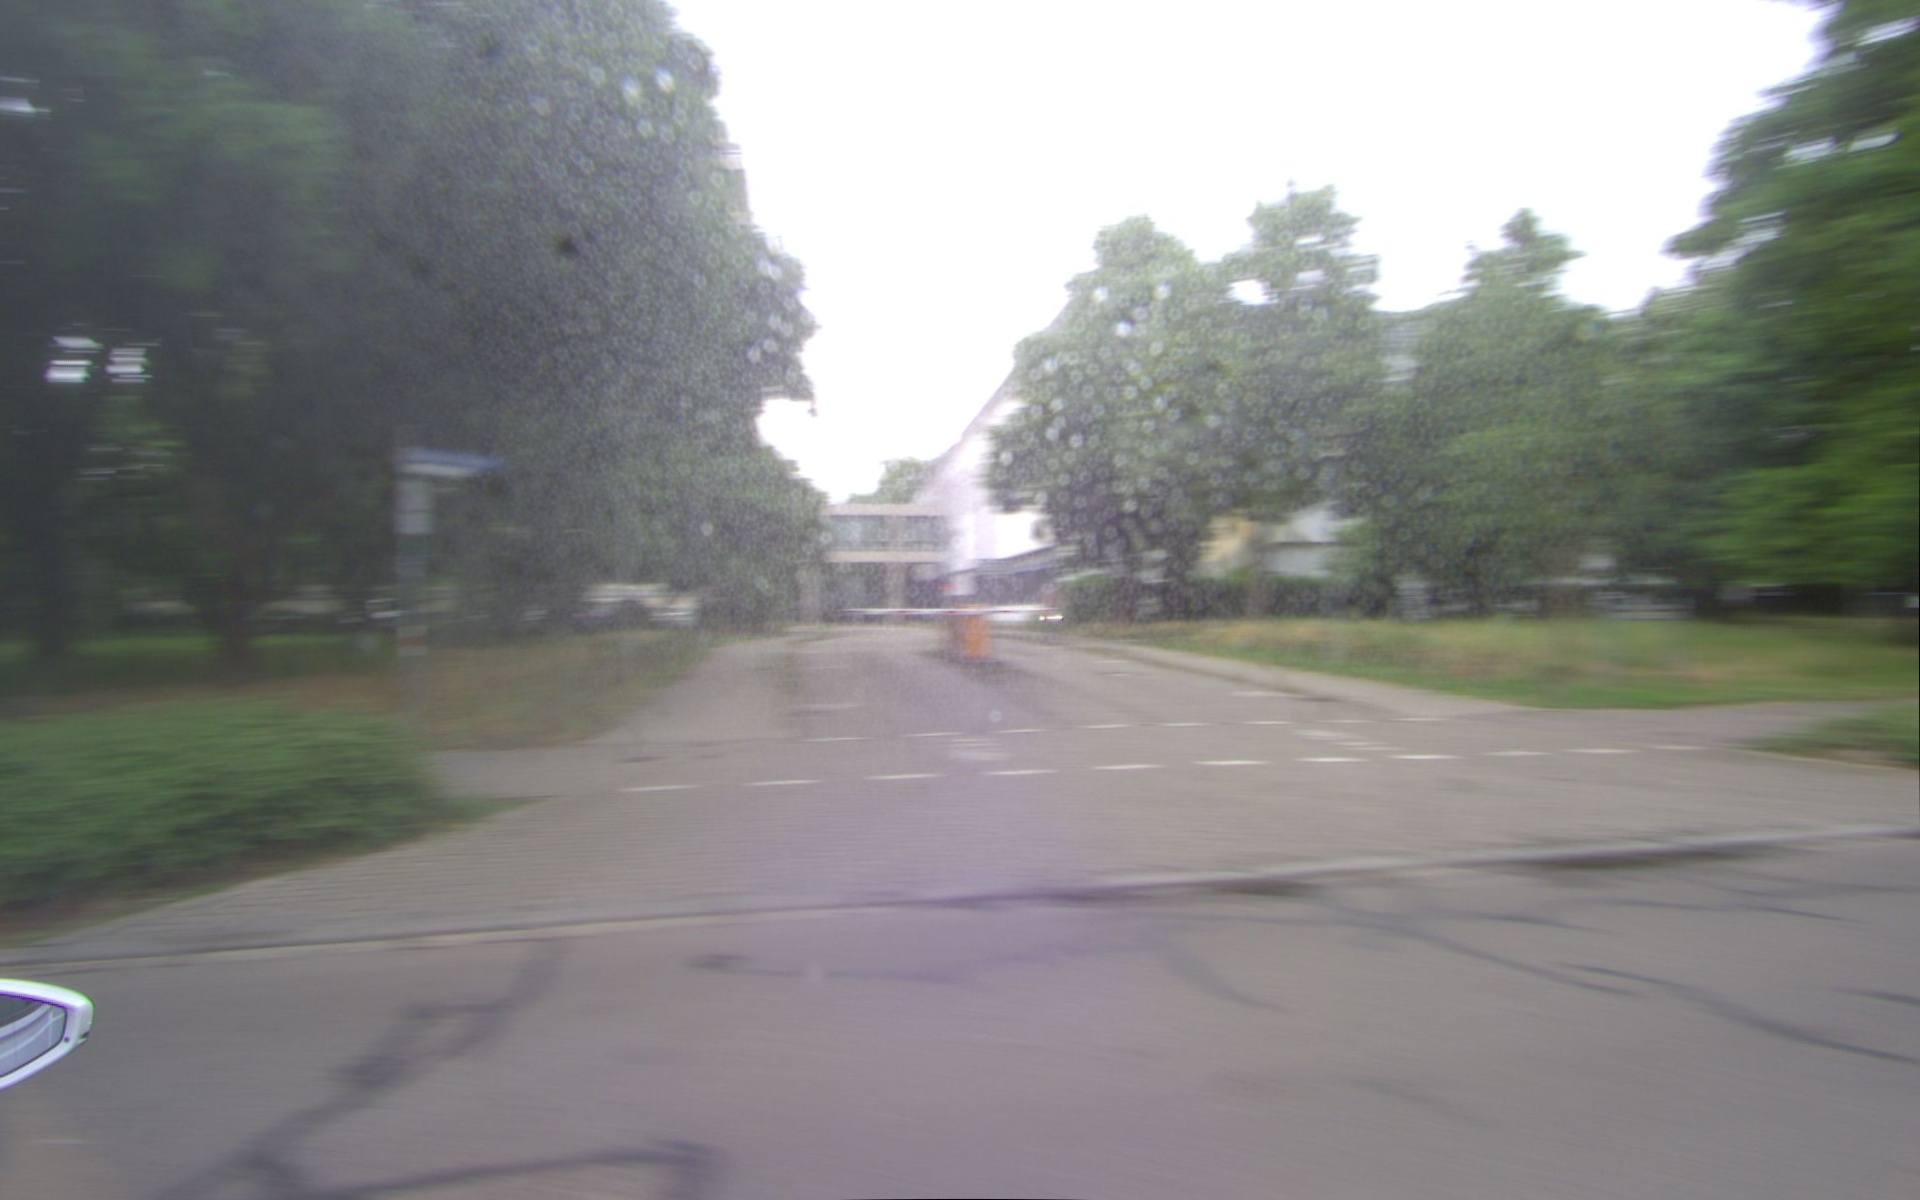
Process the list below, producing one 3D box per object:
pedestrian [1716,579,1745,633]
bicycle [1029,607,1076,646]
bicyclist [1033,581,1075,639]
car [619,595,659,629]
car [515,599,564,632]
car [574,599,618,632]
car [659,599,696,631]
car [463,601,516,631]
[{"bbox_3d":[26.184,0.189,34.043,0.562,1.822,0.543,0,1,0],"label":"pedestrian"},{"bbox_3d":[2.664,0.746,29.120,0.853,1.089,2.140,0,0,-9],"label":"bicycle"},{"bbox_3d":[2.727,0.280,29.177,1.001,1.666,0.922,0,1,-9],"label":"bicyclist"},{"bbox_3d":[-18.741,0.752,58.626,1.963,1.906,3.996,0,-1,-14],"label":"car"},{"bbox_3d":[-23.999,0.901,57.226,1.963,1.750,3.997,0,-2,-14],"label":"car"},{"bbox_3d":[-21.044,0.910,58.081,1.963,1.816,3.997,0,-2,-14],"label":"car"},{"bbox_3d":[-16.599,0.915,58.930,1.963,1.784,3.996,0,-1,-14],"label":"car"},{"bbox_3d":[-26.649,0.902,56.827,1.963,1.639,3.995,0,0,-14],"label":"car"}]
